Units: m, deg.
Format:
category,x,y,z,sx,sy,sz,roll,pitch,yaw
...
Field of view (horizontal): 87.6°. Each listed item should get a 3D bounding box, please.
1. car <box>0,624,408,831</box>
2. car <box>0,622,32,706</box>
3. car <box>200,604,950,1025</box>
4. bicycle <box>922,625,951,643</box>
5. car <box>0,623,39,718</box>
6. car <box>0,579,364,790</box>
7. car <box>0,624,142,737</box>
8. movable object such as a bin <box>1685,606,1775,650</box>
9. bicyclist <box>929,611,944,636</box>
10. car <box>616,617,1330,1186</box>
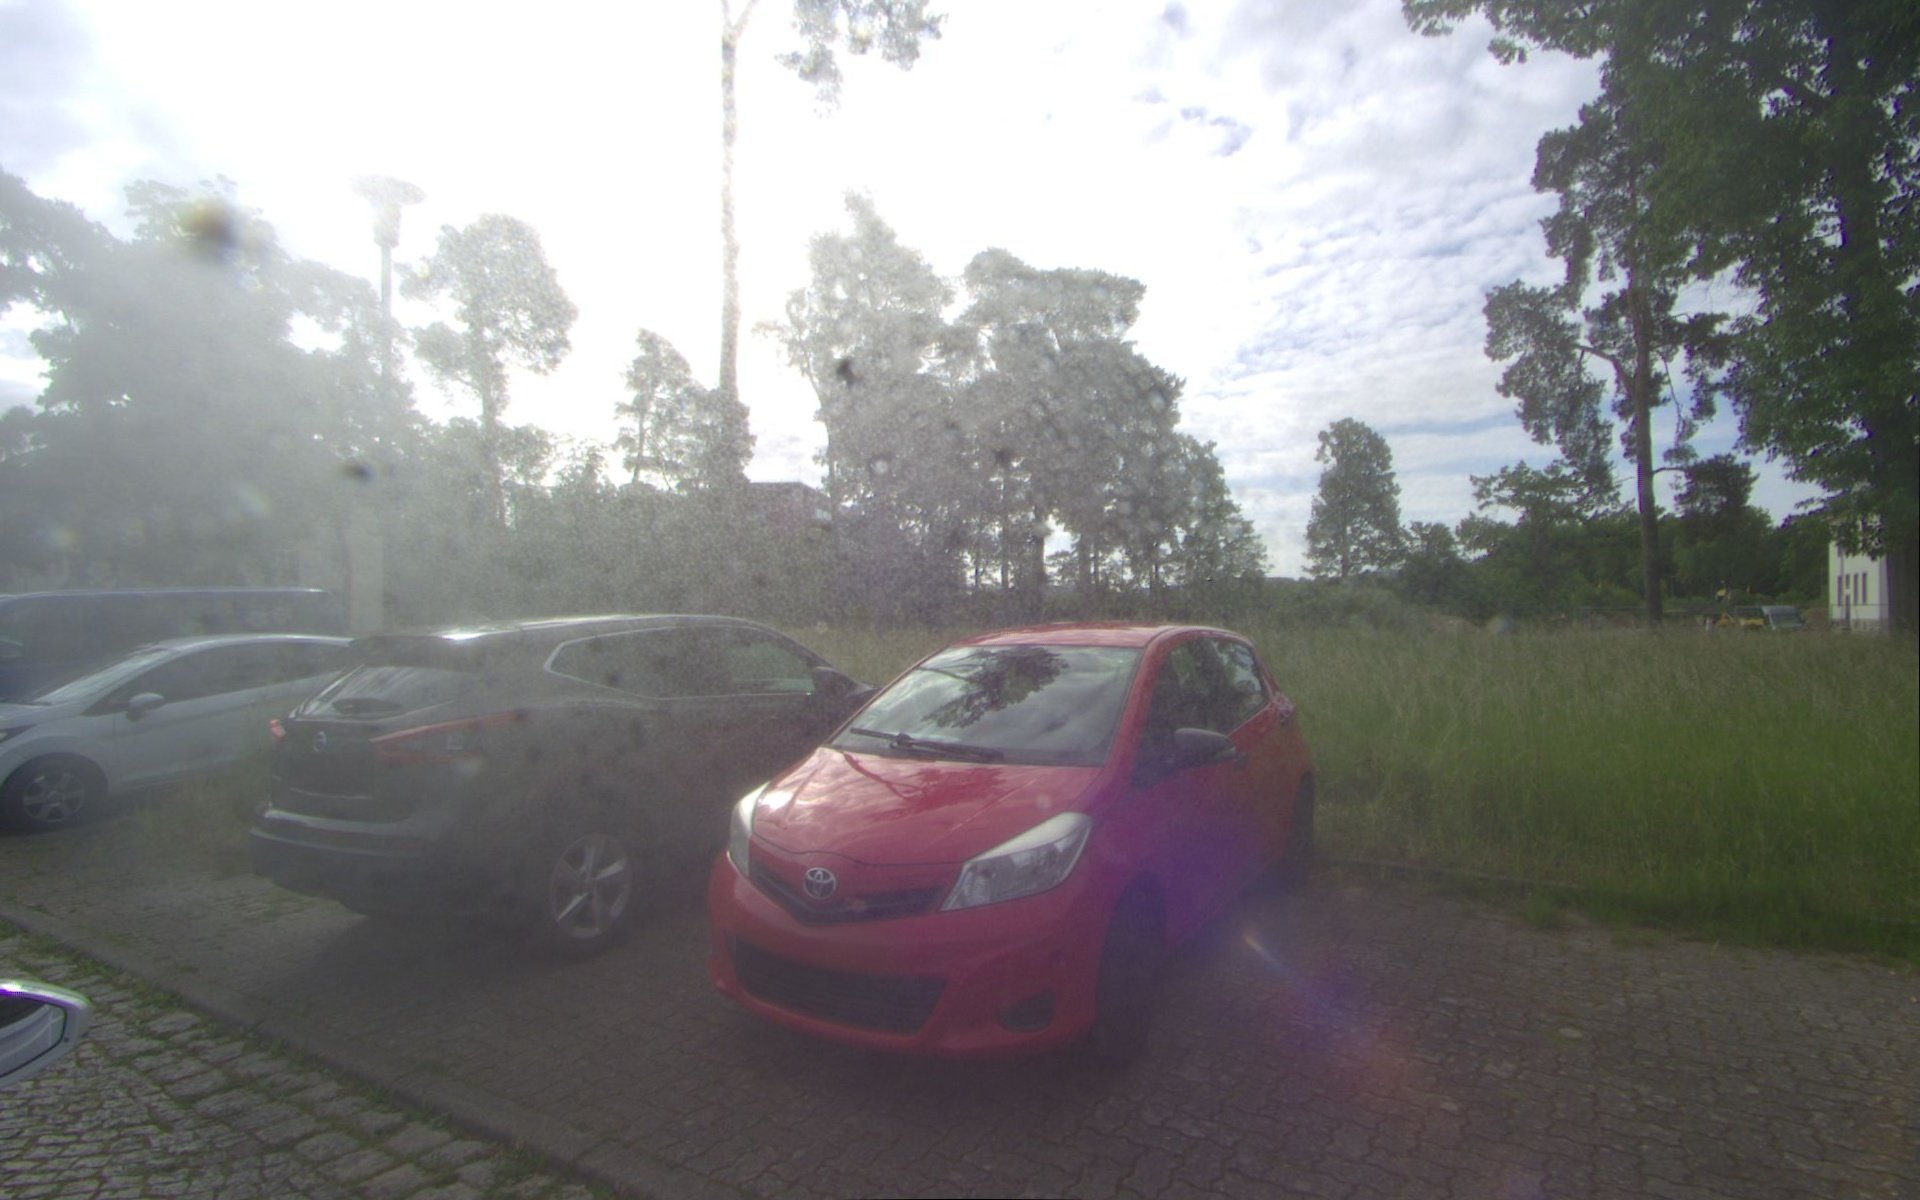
category,x,y,z,sx,sy,sz,roll,pitch,yaw
car,-7.291,1.014,9.119,1.590,1.469,3.667,-1,0,29
car,-18.316,1.163,16.850,1.501,1.469,3.666,-1,0,30
car,-1.817,0.850,6.024,1.725,1.573,4.023,-1,0,29
bicycle,-1.629,2.306,68.649,1.904,1.244,0.722,-1,-1,31
car,-16.192,1.122,14.683,1.501,1.469,3.666,-1,0,30
car,-9.326,0.802,10.690,1.902,1.980,4.747,-1,0,30
car,-13.653,1.117,13.582,1.501,1.469,3.666,-1,0,30
movable object such as a bin,49.506,1.823,64.558,2.134,2.689,5.977,0,-2,11
bicyclist,-1.594,1.590,68.604,0.761,1.717,0.724,-1,-1,32
car,0.477,0.872,4.815,1.726,1.479,3.784,-1,0,32
